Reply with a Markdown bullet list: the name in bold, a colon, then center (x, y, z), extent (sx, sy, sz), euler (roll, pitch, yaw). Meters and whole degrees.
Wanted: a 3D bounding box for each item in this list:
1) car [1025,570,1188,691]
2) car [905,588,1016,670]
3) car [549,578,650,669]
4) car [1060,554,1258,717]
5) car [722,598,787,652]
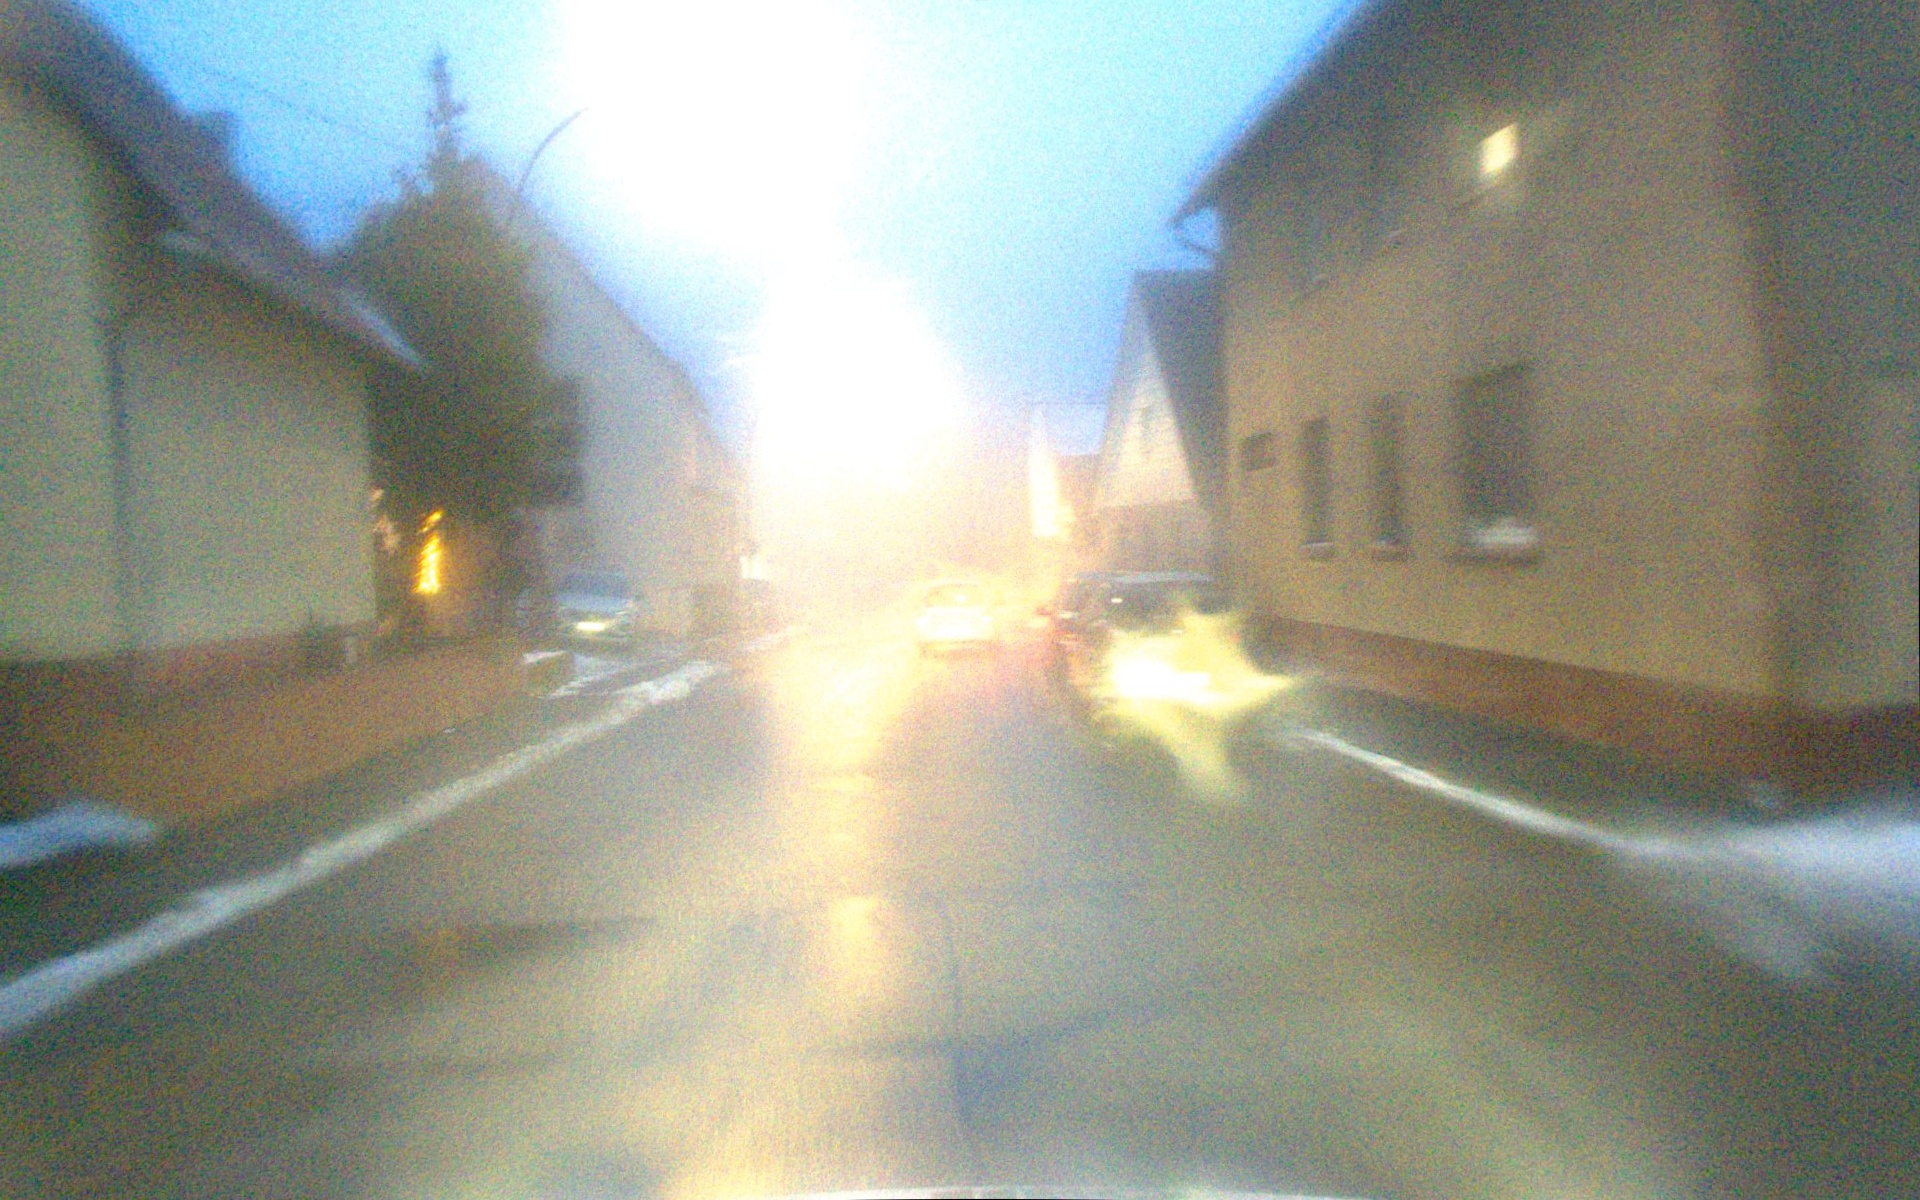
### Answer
- **car**: center (1.932, 0.373, 23.035), extent (1.871, 1.507, 4.281), euler (1, 0, 0)
- **car**: center (0.078, 0.584, 33.417), extent (1.951, 1.534, 4.002), euler (1, -1, 4)
- **car**: center (-7.761, 0.500, 35.979), extent (1.731, 1.767, 4.630), euler (3, -1, -8)
- **car**: center (2.012, 0.301, 17.671), extent (1.681, 1.525, 3.907), euler (1, 1, 1)
- **car**: center (-6.656, 0.781, 53.790), extent (1.955, 1.549, 4.186), euler (0, 2, -5)
